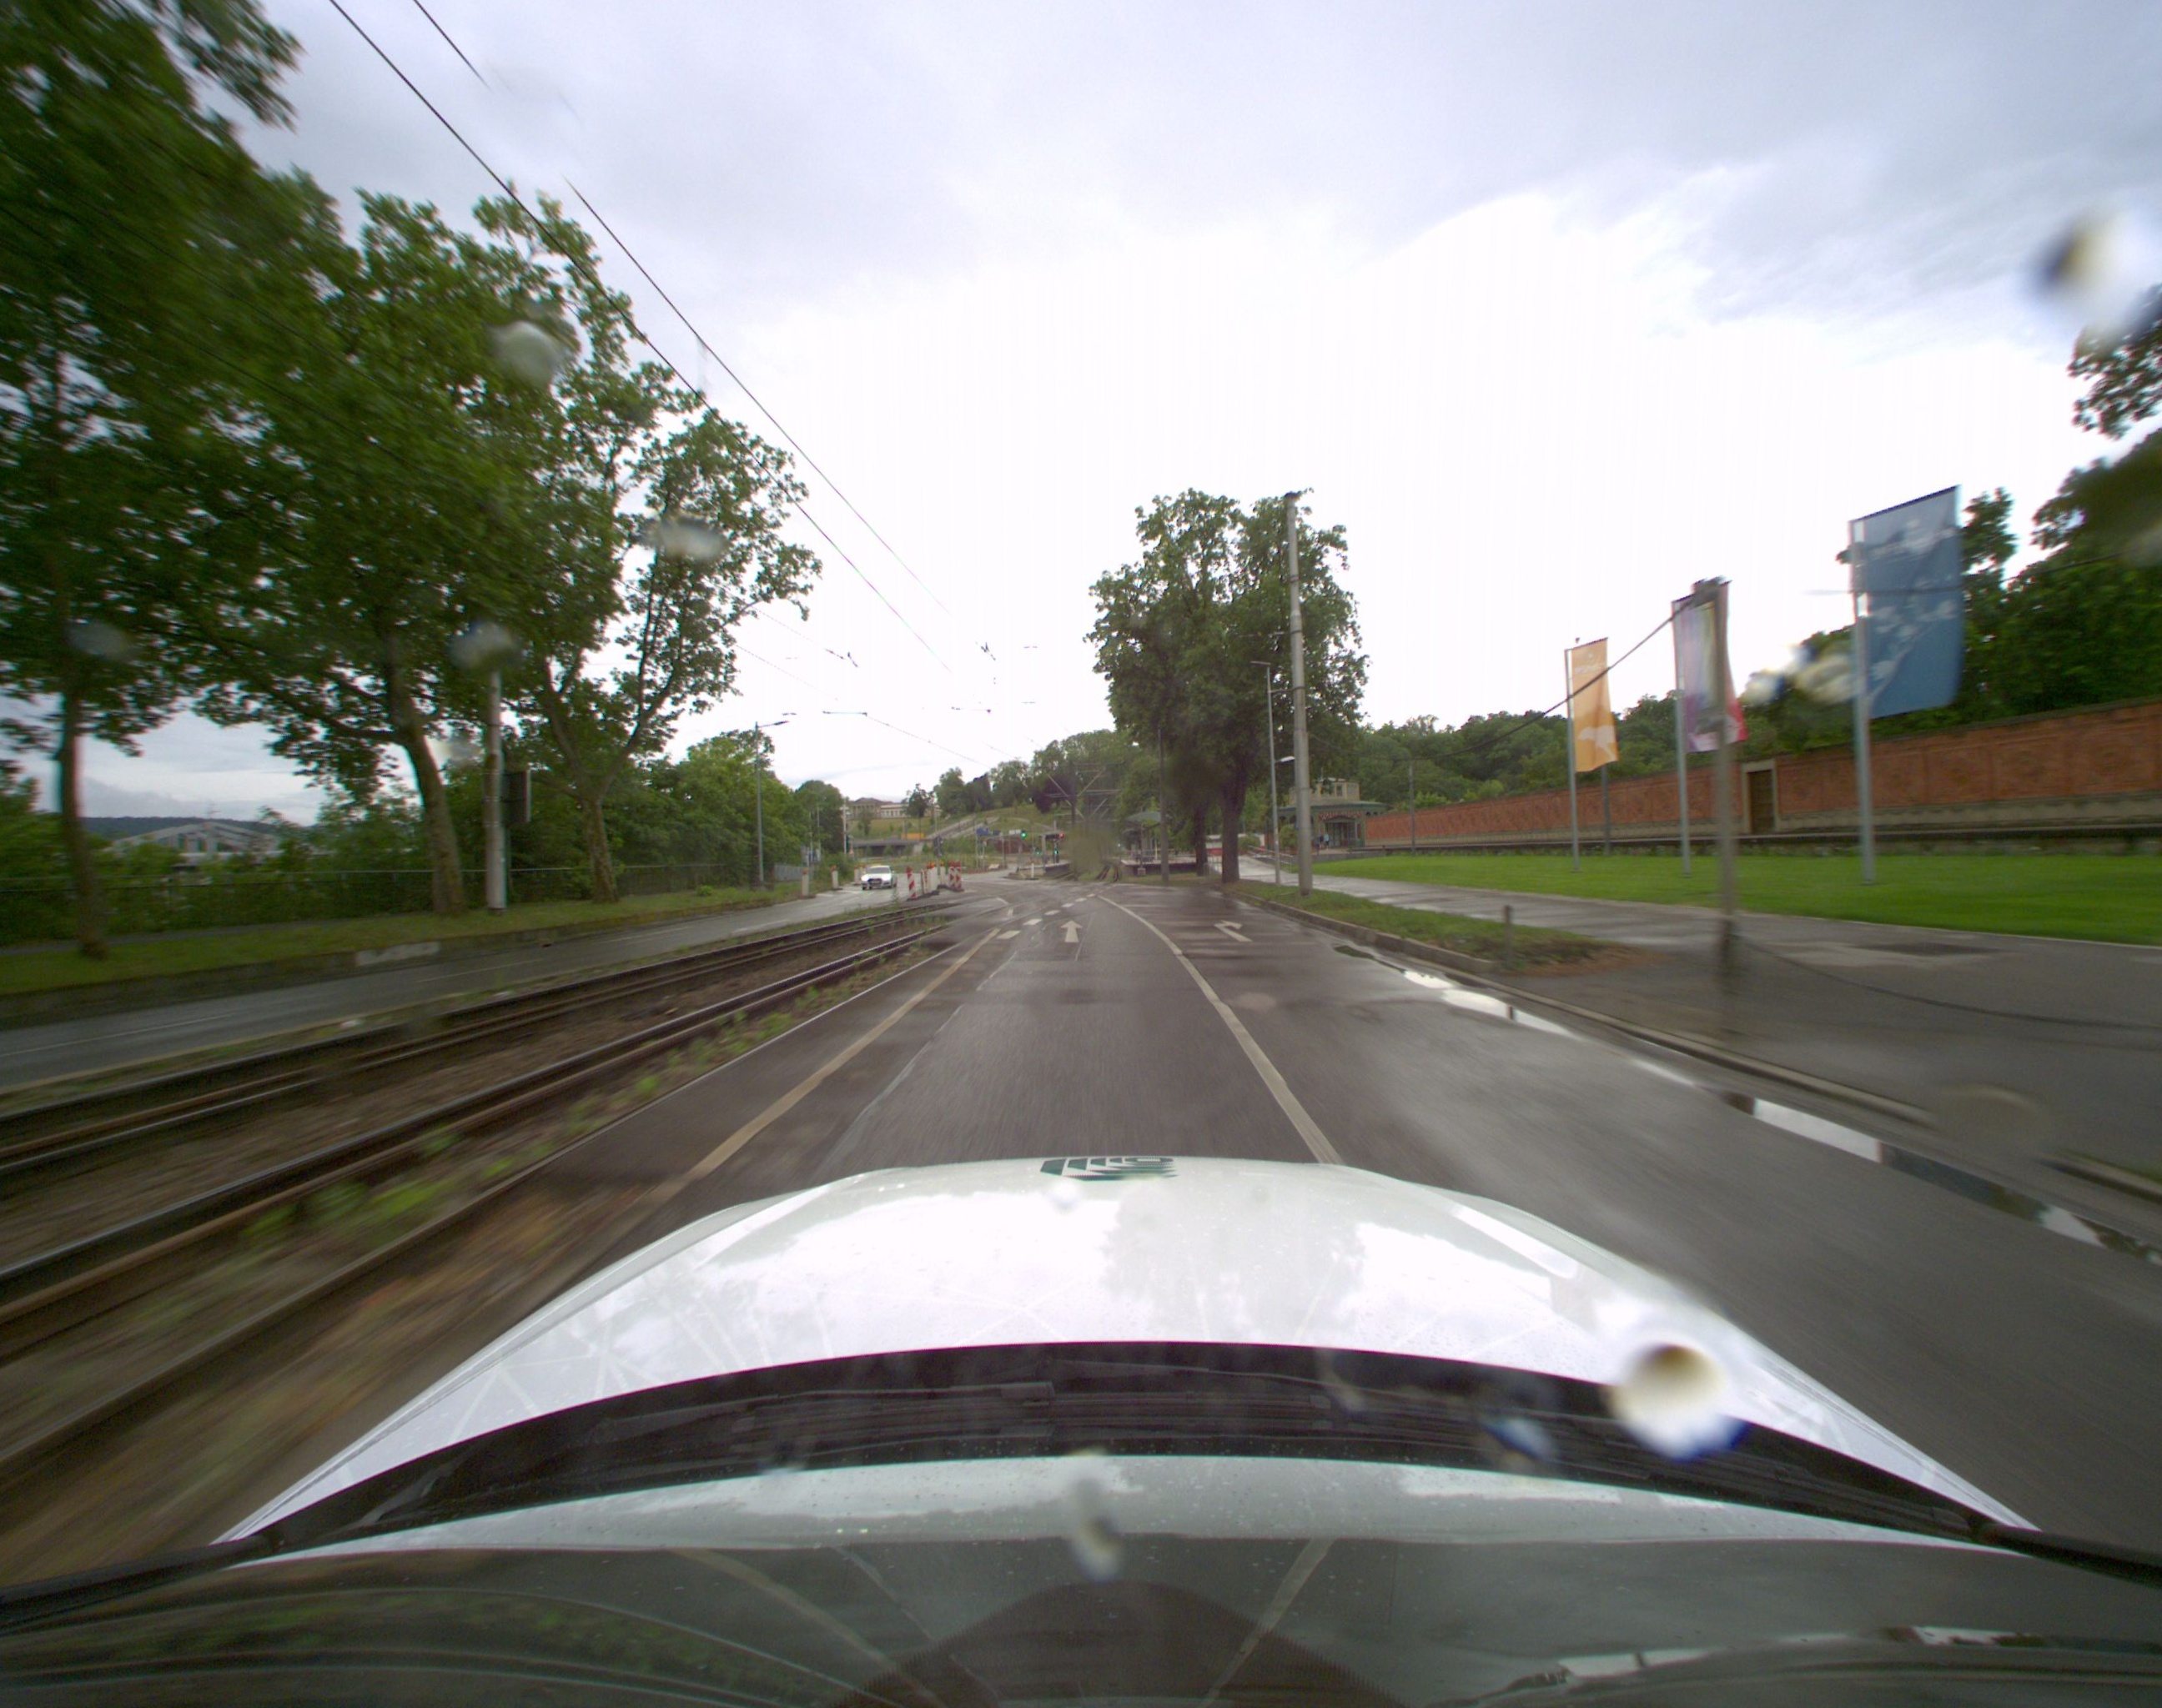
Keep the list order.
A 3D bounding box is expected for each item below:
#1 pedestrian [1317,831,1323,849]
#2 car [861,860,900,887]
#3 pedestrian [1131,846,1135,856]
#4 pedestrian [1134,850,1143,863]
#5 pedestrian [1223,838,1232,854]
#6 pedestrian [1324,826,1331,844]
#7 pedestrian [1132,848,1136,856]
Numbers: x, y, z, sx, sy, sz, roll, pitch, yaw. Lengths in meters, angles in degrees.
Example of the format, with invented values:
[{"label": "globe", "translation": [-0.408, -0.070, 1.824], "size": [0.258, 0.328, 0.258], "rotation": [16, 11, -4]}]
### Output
[{"label": "pedestrian", "translation": [23.228, -1.324, 79.086], "size": [0.527, 1.711, 0.698], "rotation": [0, -2, 13]}, {"label": "car", "translation": [-12.767, 1.197, 52.110], "size": [1.707, 1.498, 4.708], "rotation": [-4, 0, -7]}, {"label": "pedestrian", "translation": [6.512, -0.351, 101.243], "size": [0.435, 1.226, 0.551], "rotation": [-3, 0, 3]}, {"label": "pedestrian", "translation": [5.071, 0.238, 71.574], "size": [0.601, 1.119, 0.518], "rotation": [2, -1, -14]}, {"label": "pedestrian", "translation": [16.594, -0.880, 92.171], "size": [0.718, 1.790, 1.183], "rotation": [-4, 0, 3]}, {"label": "pedestrian", "translation": [23.751, -1.850, 78.466], "size": [0.544, 1.657, 0.472], "rotation": [-2, -1, 36]}, {"label": "pedestrian", "translation": [6.491, -0.244, 100.469], "size": [0.435, 1.009, 0.551], "rotation": [-3, -1, 3]}]
